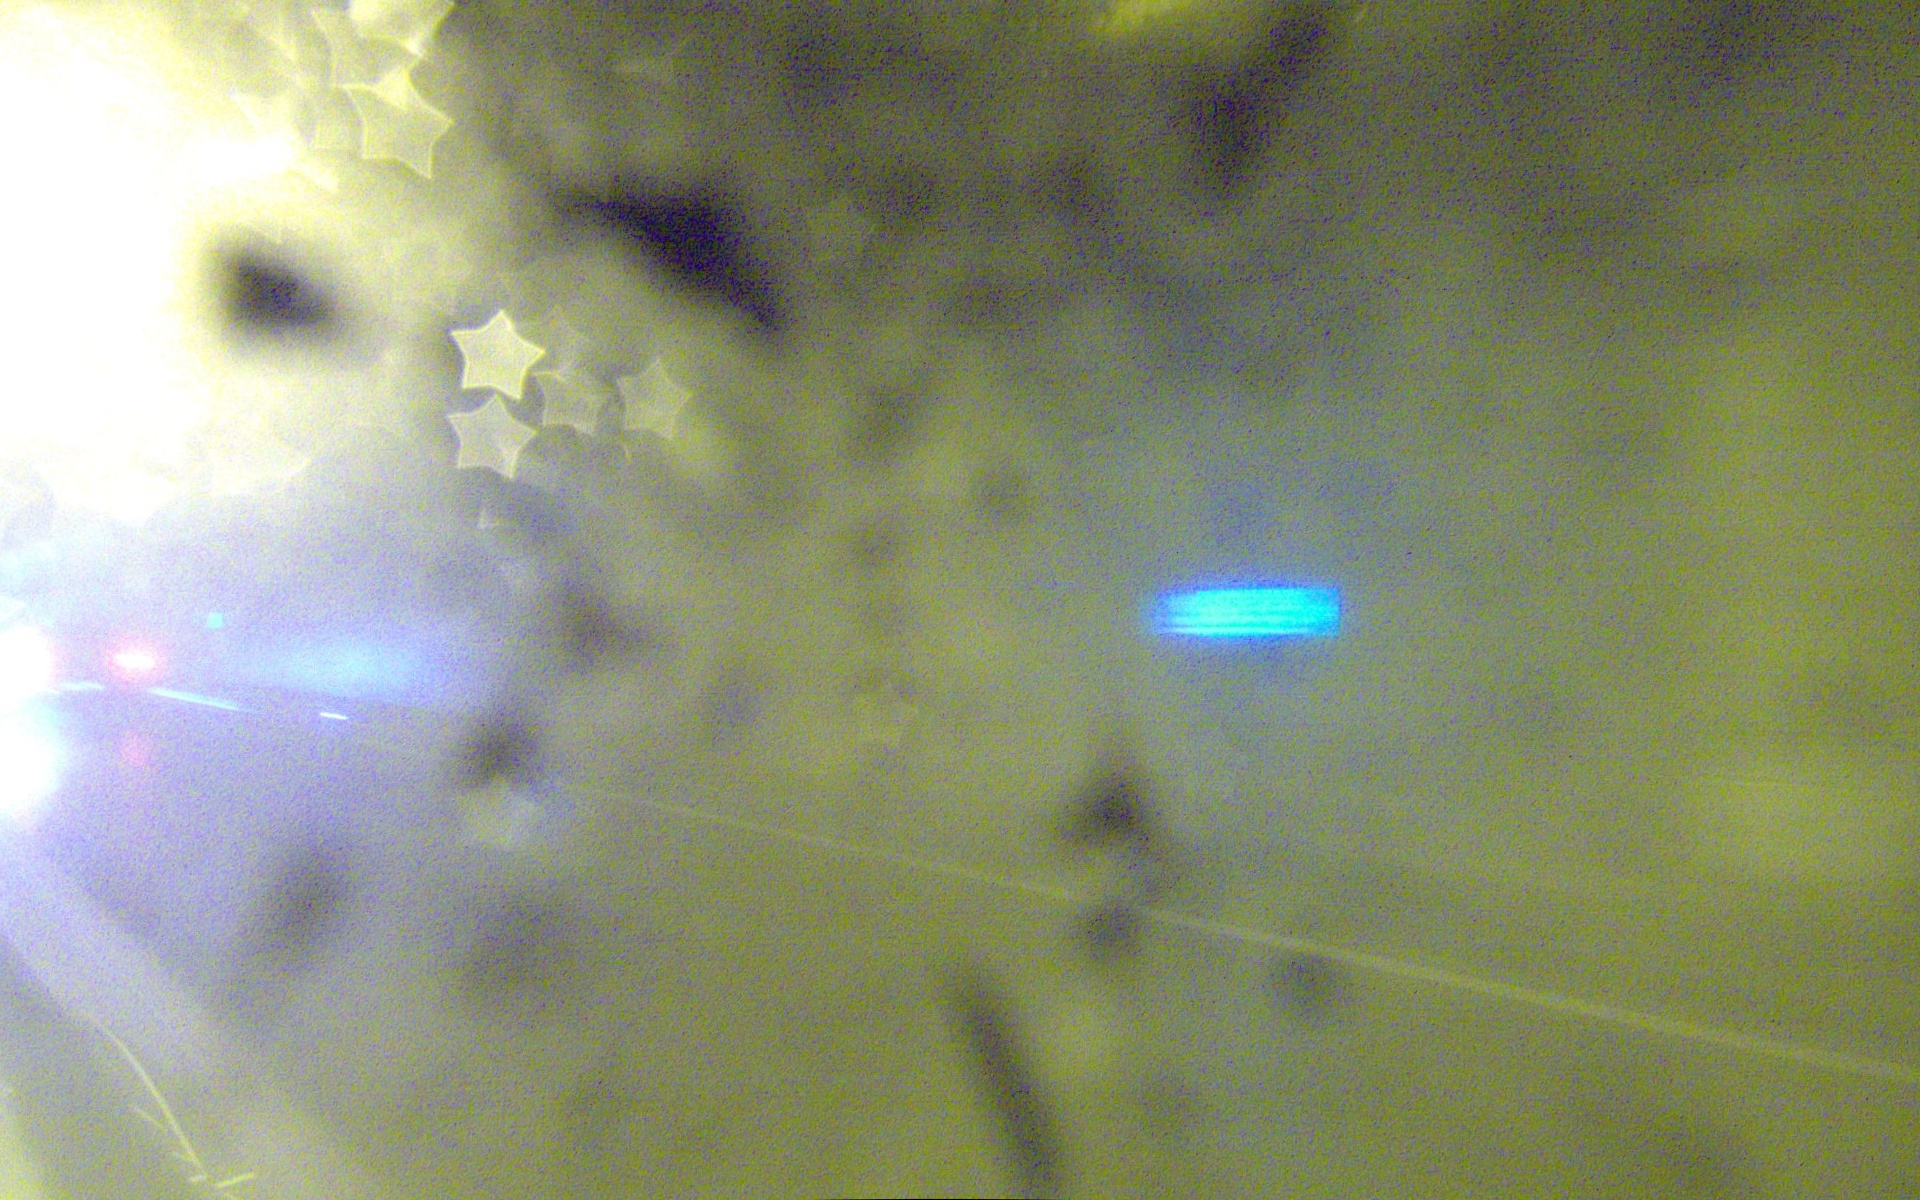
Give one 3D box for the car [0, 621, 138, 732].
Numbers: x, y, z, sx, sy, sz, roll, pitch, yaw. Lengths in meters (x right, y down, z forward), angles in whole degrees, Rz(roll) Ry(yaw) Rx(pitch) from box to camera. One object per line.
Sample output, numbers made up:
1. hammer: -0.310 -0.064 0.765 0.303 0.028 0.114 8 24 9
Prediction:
1. car: -14.343 1.141 15.926 3.644 1.546 1.618 -2 -3 42
